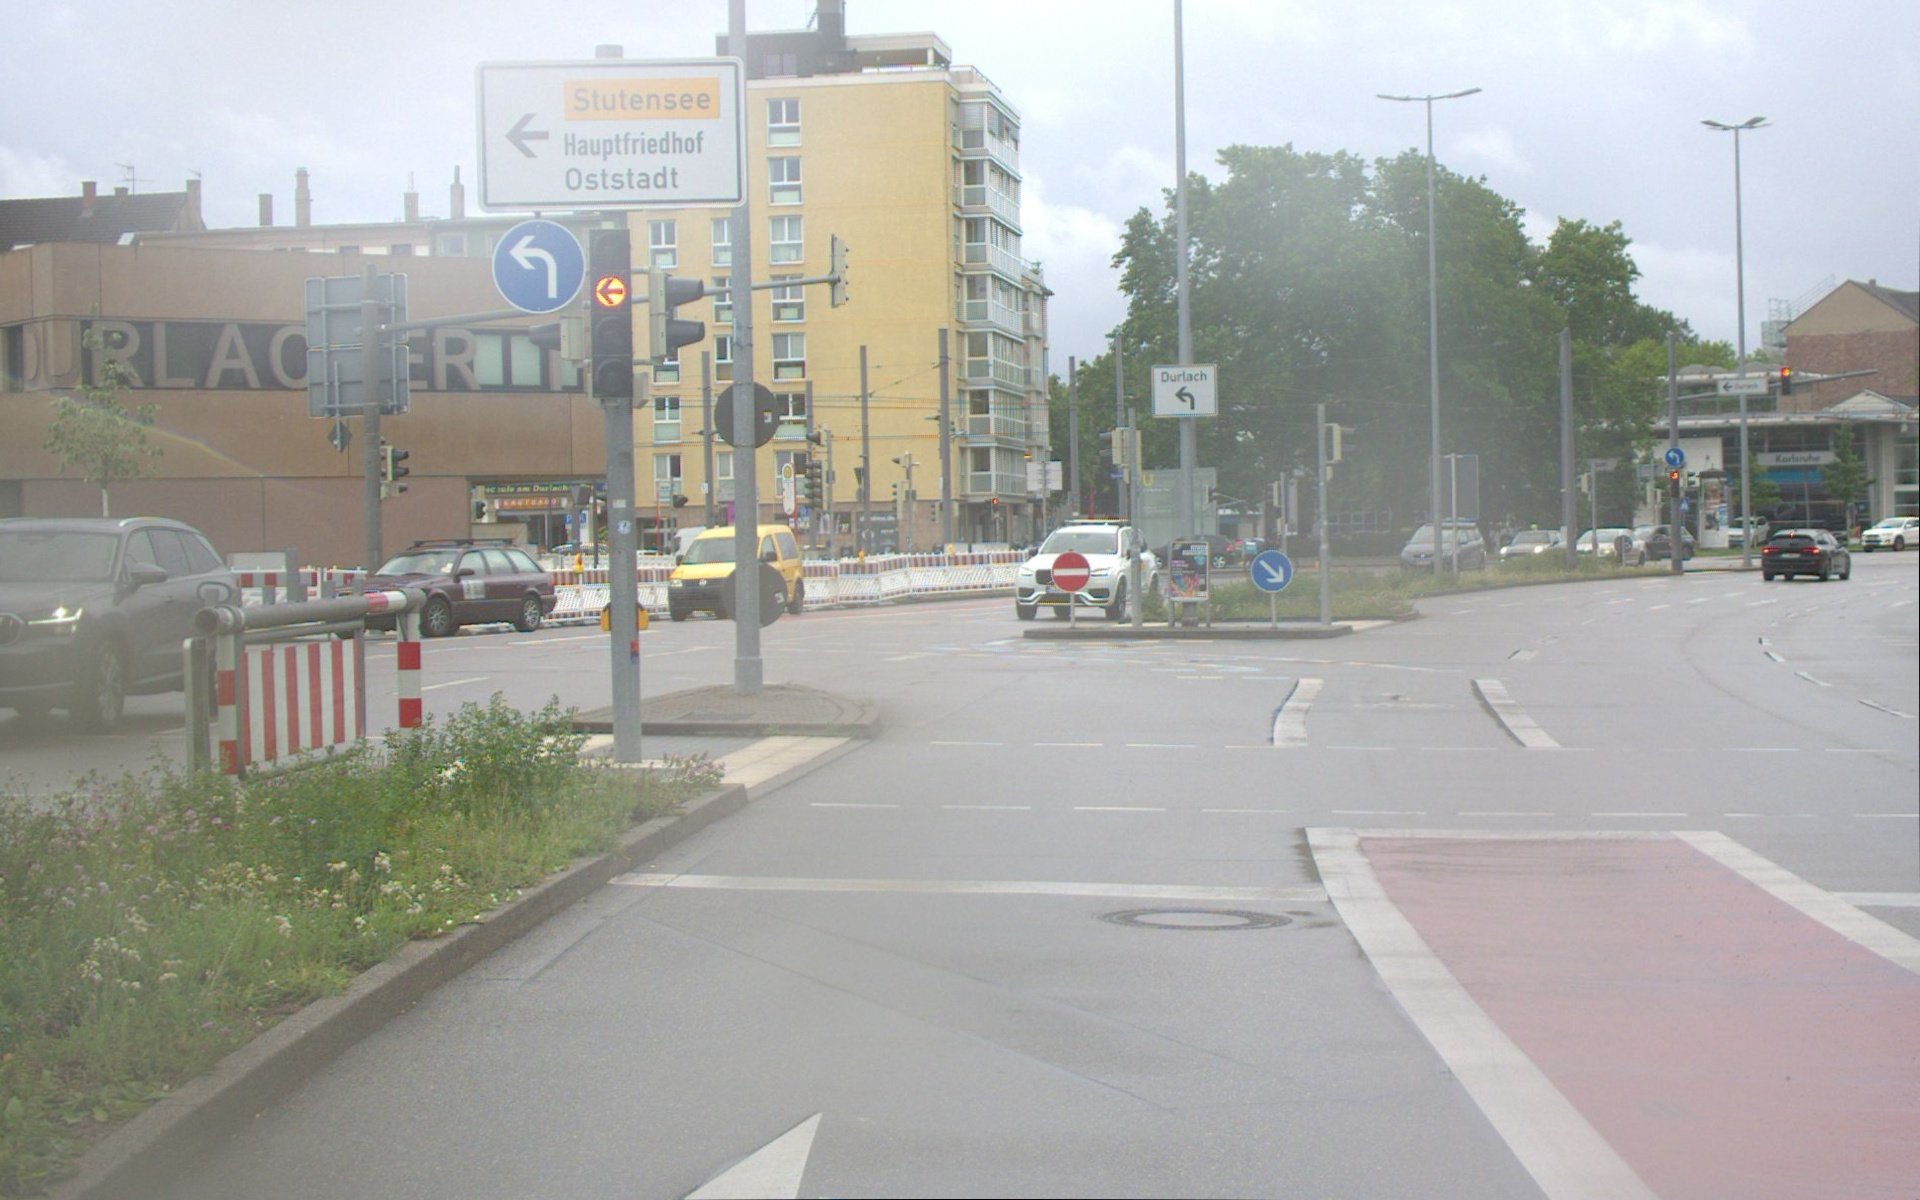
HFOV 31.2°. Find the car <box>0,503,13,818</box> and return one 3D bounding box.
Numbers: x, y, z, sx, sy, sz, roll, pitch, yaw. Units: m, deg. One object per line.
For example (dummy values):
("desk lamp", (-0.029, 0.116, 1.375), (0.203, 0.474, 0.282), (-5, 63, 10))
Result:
("car", (-5.452, 0.356, 14.612), (1.679, 1.496, 3.868), (-2, 1, 1))

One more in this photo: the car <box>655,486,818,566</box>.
("car", (-9.866, -3.282, 152.069), (6.742, 3.368, 2.809), (-1, 1, 6))

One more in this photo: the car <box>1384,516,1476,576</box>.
("car", (15.146, -1.749, 110.686), (1.696, 1.684, 4.178), (-1, 3, 26))

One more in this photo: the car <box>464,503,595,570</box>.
("car", (-19.191, -2.833, 153.250), (5.351, 2.877, 2.339), (-1, 1, 6))

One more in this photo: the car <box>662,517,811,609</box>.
("car", (-4.292, -0.737, 66.677), (1.706, 1.700, 4.150), (-1, 1, 13))

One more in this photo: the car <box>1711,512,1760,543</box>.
("car", (43.787, -4.101, 194.080), (1.792, 1.637, 4.153), (0, 1, 27))

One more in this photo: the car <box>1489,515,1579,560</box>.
("car", (20.177, -2.218, 120.759), (1.775, 1.371, 4.114), (-2, 2, 29))

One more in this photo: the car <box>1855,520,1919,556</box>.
("car", (44.115, -2.929, 162.023), (1.795, 1.637, 4.385), (0, 2, 45))

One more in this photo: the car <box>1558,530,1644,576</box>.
("car", (21.433, -1.575, 114.829), (1.696, 1.411, 4.177), (-1, 2, 27))

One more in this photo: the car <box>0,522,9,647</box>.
("car", (-15.036, -0.173, 46.589), (3.807, 1.700, 1.711), (-2, 1, -30))

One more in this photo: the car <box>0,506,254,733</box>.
("car", (-7.244, 0.124, 27.591), (1.994, 1.630, 4.603), (-3, 1, 2))

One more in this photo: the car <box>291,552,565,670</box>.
("car", (-8.235, 0.137, 53.618), (1.708, 1.700, 4.453), (0, 1, 32))

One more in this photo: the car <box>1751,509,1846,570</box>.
("car", (23.375, -1.698, 95.749), (1.792, 1.637, 4.154), (0, 1, 24))

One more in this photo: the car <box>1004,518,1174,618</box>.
("car", (2.479, -0.637, 64.610), (1.827, 1.676, 5.162), (-3, 1, 17))
